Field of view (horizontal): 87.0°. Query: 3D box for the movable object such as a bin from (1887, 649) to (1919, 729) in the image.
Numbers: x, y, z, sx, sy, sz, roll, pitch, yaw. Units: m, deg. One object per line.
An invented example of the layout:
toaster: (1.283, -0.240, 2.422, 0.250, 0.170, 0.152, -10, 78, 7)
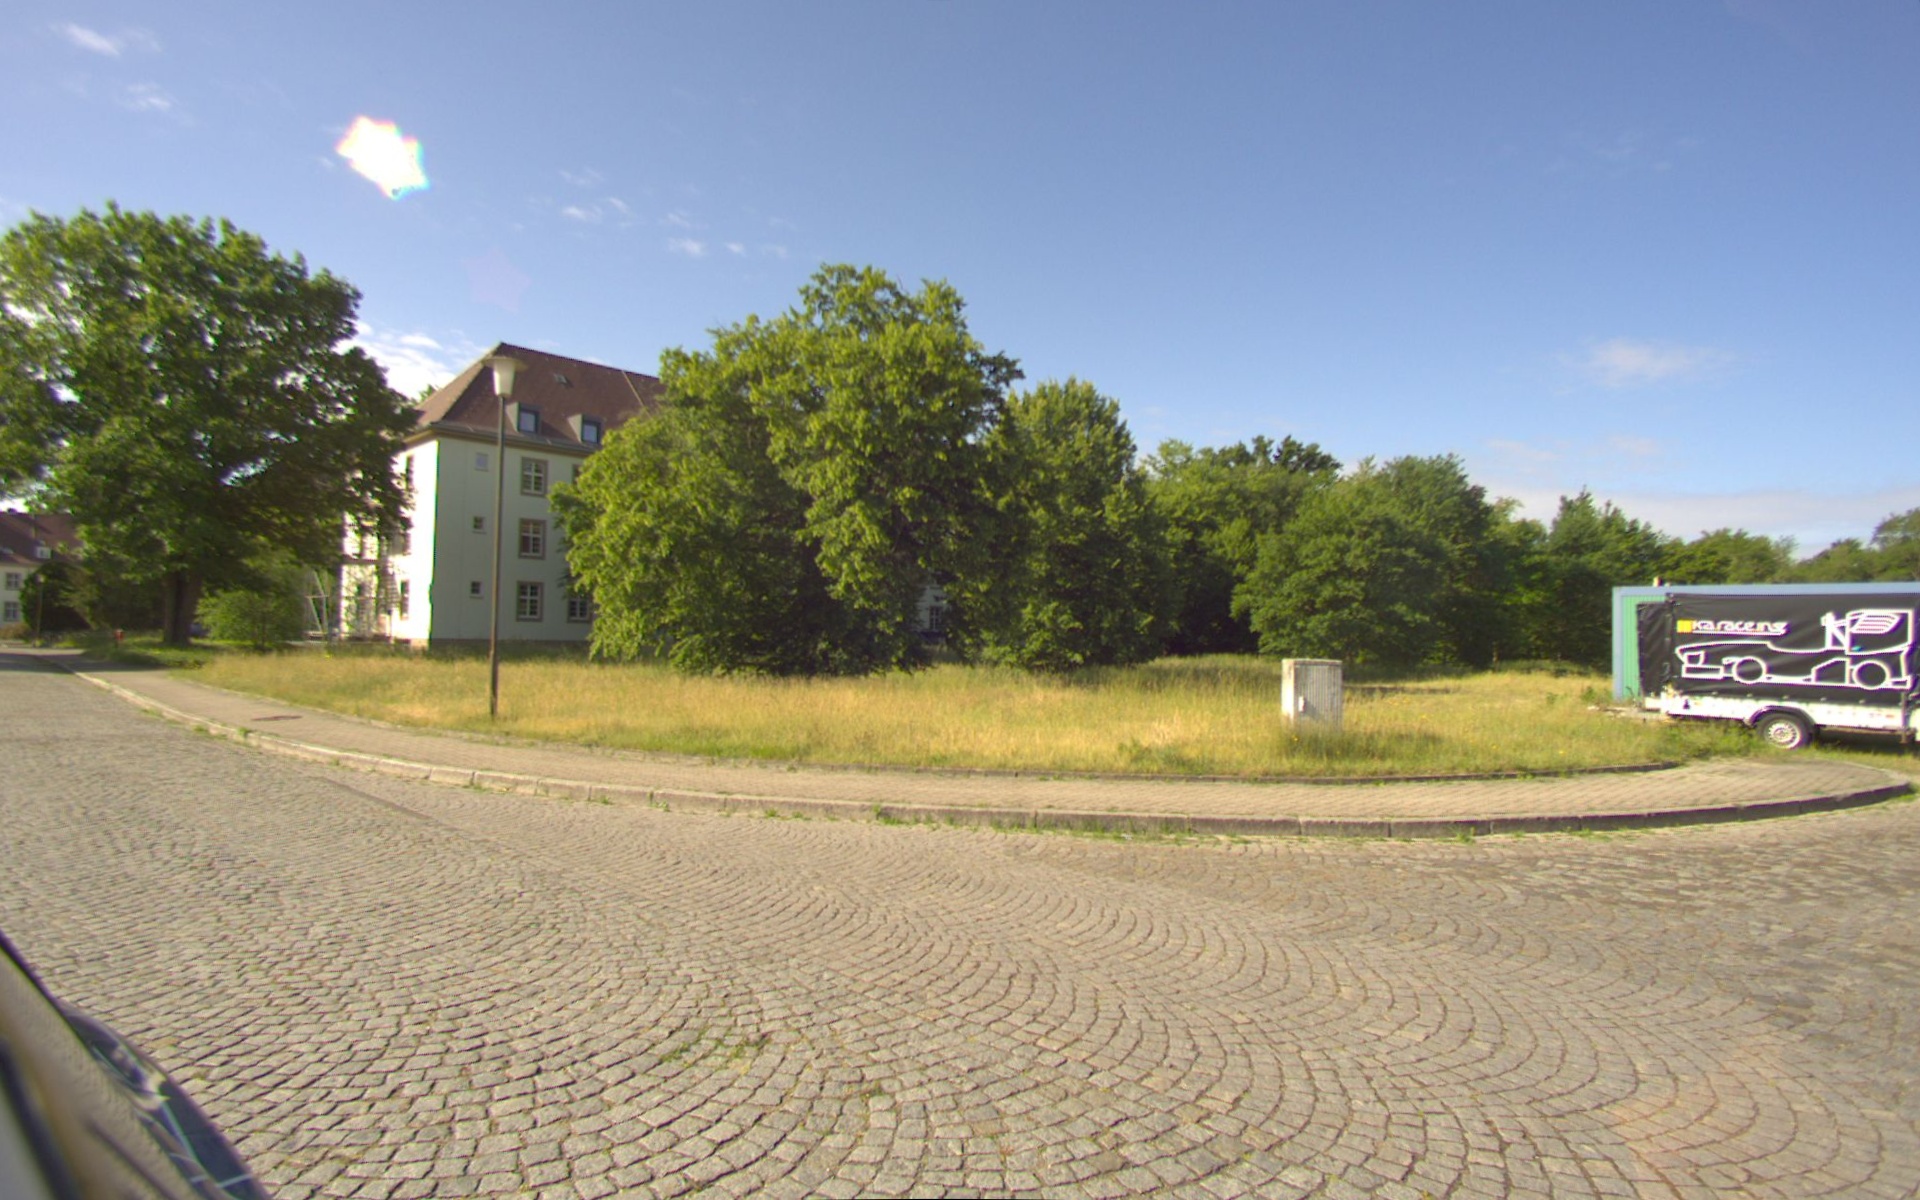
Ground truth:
movable object such as a bin: (18.206, 1.661, 18.874, 1.085, 1.448, 1.393, -1, -3, 32)

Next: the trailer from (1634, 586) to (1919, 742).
trailer: (14.467, 1.031, 17.222, 4.850, 2.409, 1.917, 0, -3, 39)

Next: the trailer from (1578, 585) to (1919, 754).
trailer: (12.434, 0.993, 15.766, 4.470, 2.290, 1.985, 0, -3, 45)
